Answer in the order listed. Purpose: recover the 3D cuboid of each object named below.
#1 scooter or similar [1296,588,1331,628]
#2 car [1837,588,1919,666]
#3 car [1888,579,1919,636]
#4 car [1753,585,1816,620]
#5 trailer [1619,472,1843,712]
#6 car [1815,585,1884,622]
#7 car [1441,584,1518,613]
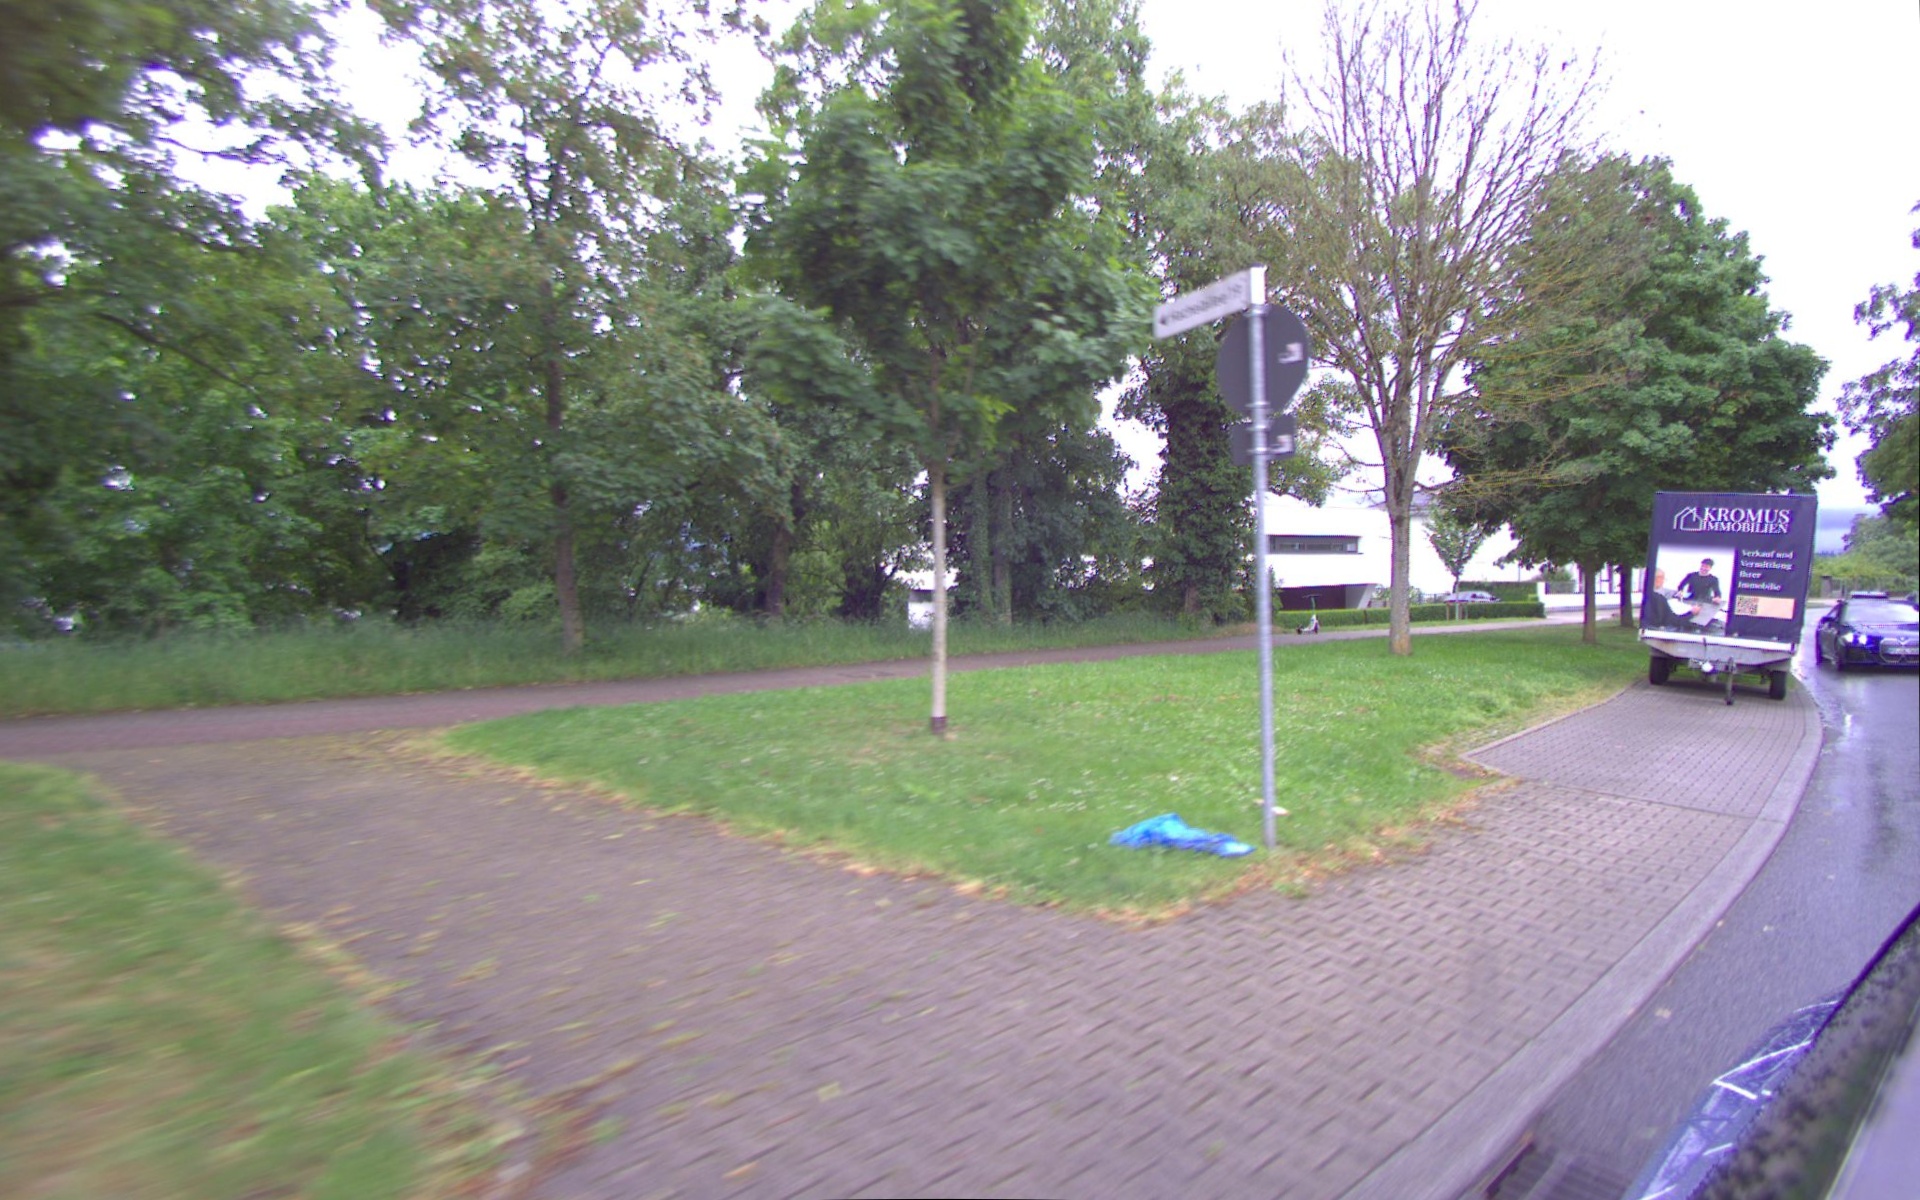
[{"bbox_3d":[10.588,0.217,30.330,0.463,1.161,1.280,3,3,44],"label":"scooter or similar"},{"bbox_3d":[19.777,0.503,21.320,1.808,1.486,3.919,0,1,39],"label":"car"},{"bbox_3d":[30.513,0.237,31.262,1.843,1.713,4.356,1,1,31],"label":"car"},{"bbox_3d":[36.901,0.093,45.362,1.919,1.400,4.252,-1,0,36],"label":"car"},{"bbox_3d":[11.469,-0.197,14.989,1.993,2.841,5.528,8,5,39],"label":"trailer"},{"bbox_3d":[39.502,0.131,45.021,1.783,1.556,4.041,1,1,34],"label":"car"},{"bbox_3d":[30.322,-0.079,59.043,4.371,1.570,1.929,-2,0,-30],"label":"car"}]
